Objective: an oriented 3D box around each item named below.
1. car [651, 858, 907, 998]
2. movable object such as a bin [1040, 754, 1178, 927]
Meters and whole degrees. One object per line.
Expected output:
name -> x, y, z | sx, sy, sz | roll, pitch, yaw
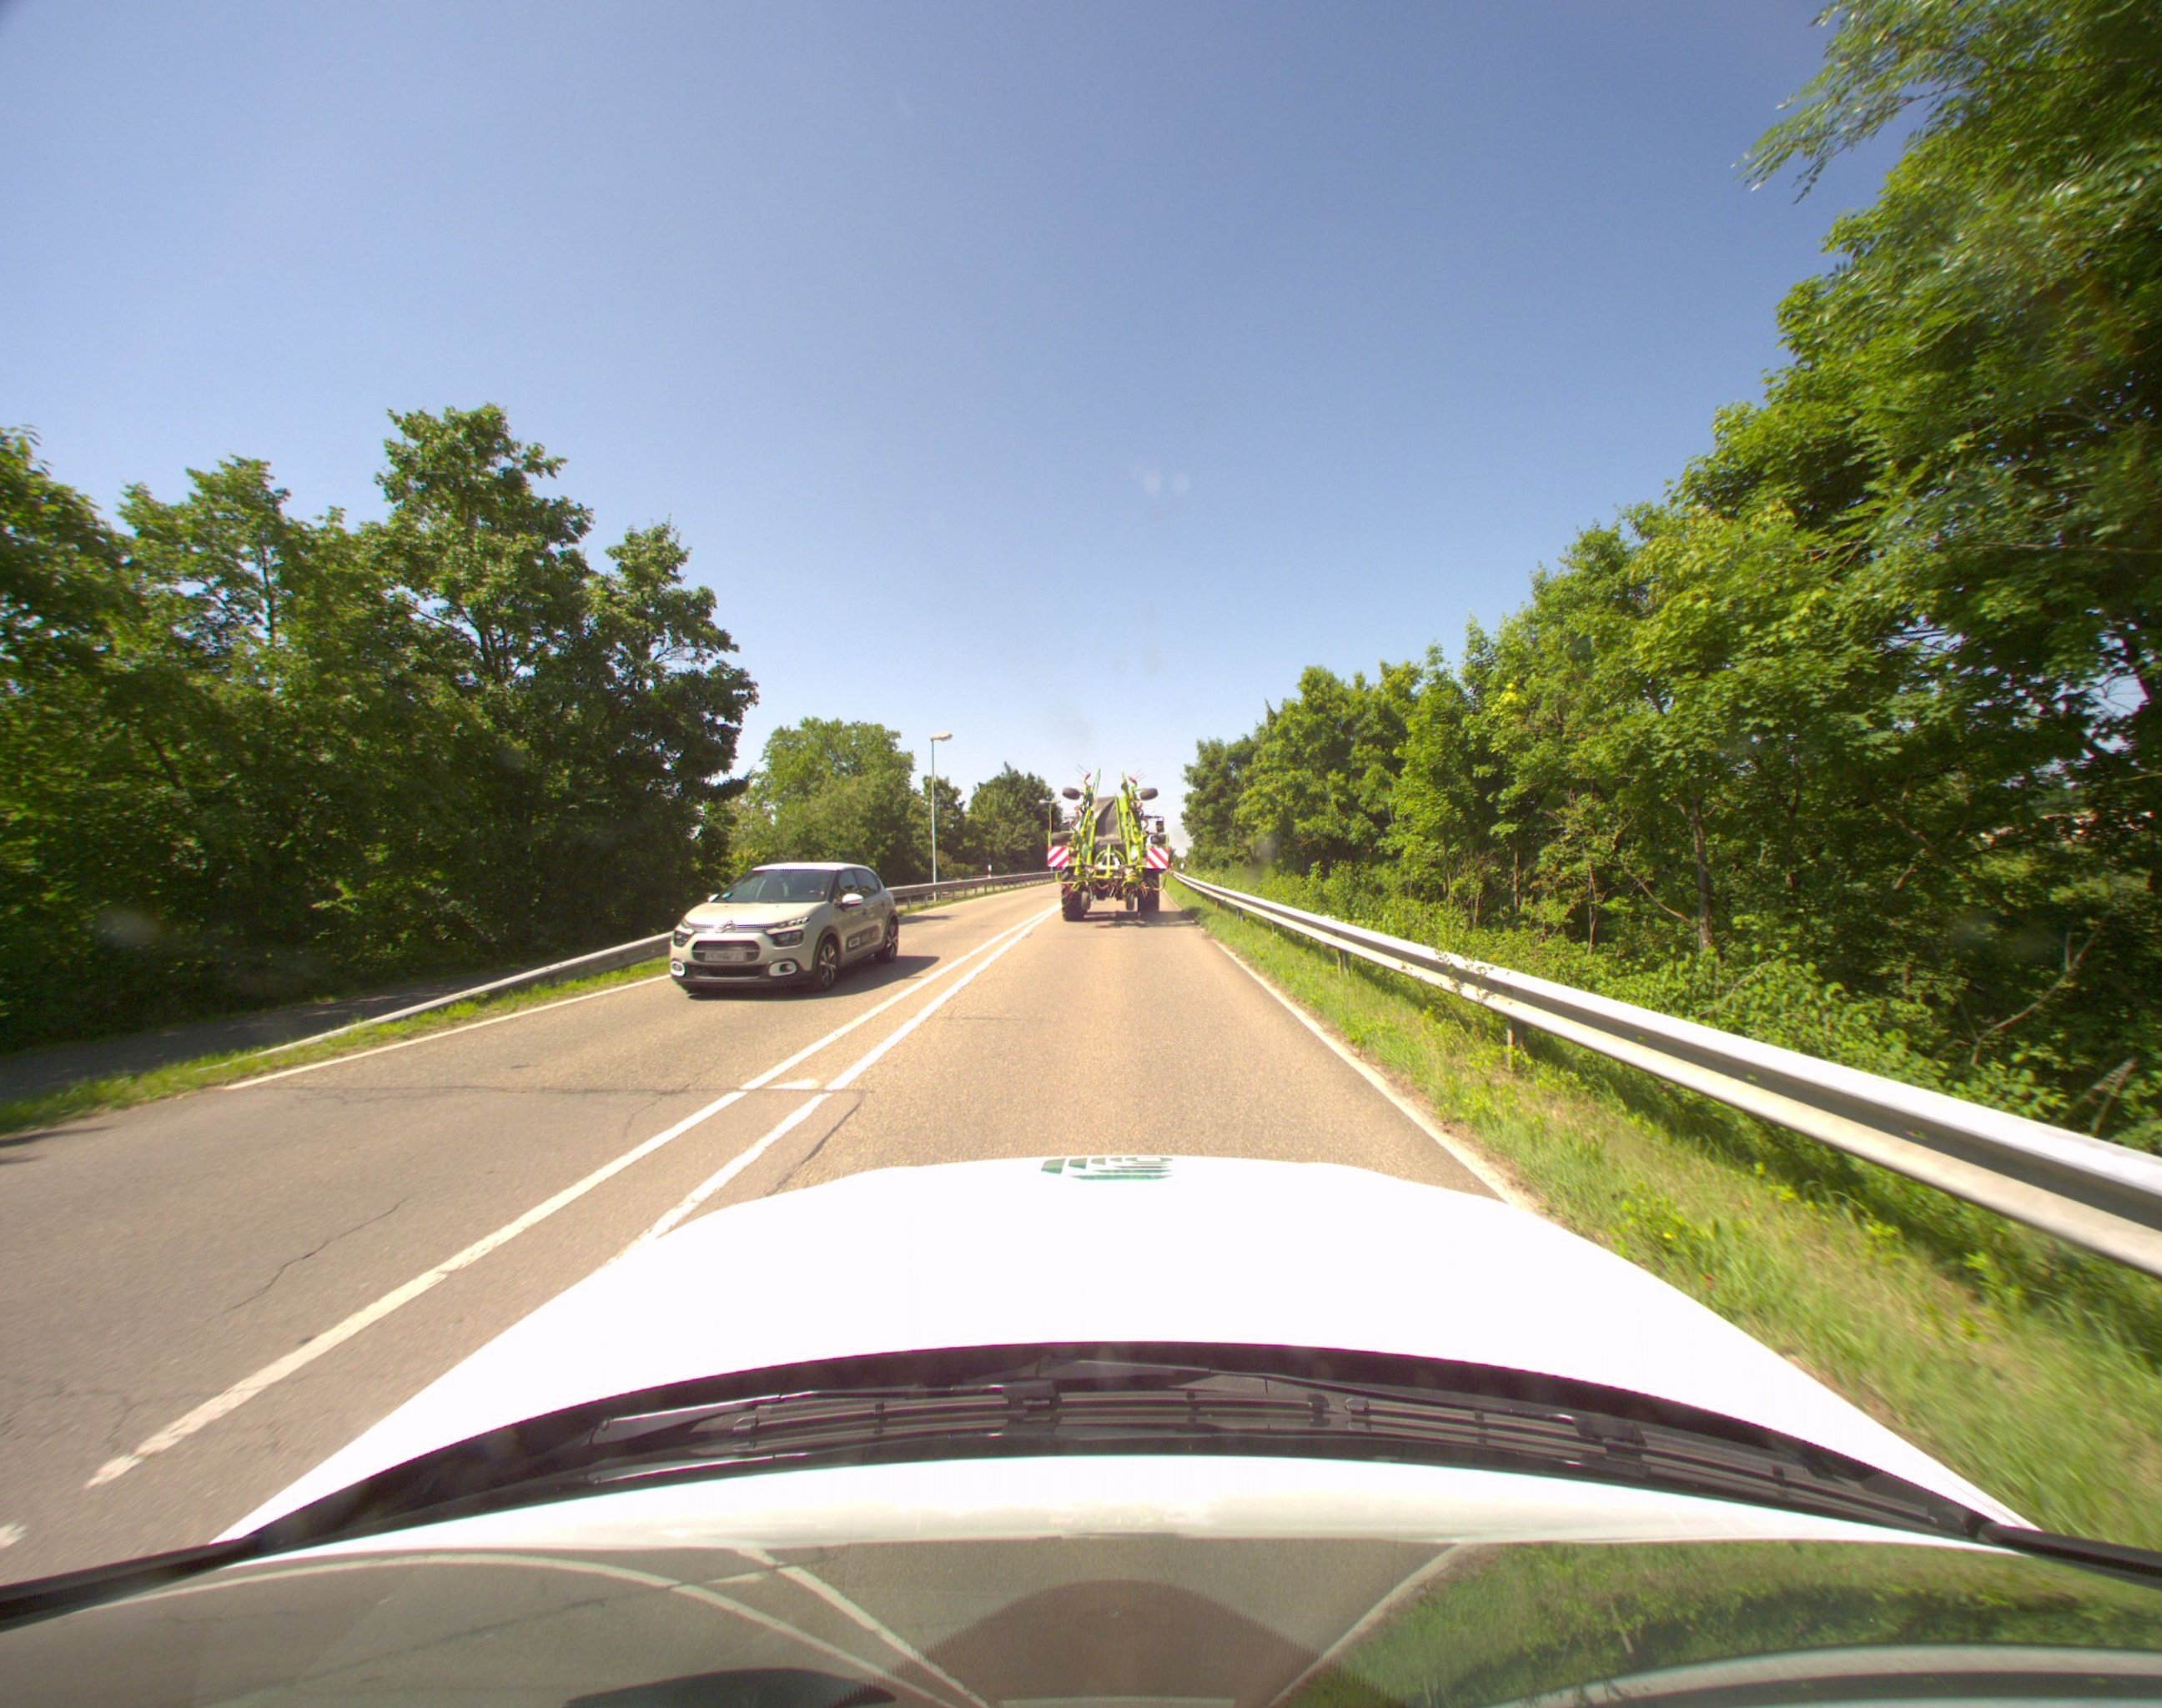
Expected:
car -> -3.661, 0.804, 10.682 | 1.732, 1.456, 3.891 | -1, 0, 3
movable object such as a bin -> 0.632, -0.270, 19.336 | 2.745, 3.444, 5.671 | -1, 0, 1
